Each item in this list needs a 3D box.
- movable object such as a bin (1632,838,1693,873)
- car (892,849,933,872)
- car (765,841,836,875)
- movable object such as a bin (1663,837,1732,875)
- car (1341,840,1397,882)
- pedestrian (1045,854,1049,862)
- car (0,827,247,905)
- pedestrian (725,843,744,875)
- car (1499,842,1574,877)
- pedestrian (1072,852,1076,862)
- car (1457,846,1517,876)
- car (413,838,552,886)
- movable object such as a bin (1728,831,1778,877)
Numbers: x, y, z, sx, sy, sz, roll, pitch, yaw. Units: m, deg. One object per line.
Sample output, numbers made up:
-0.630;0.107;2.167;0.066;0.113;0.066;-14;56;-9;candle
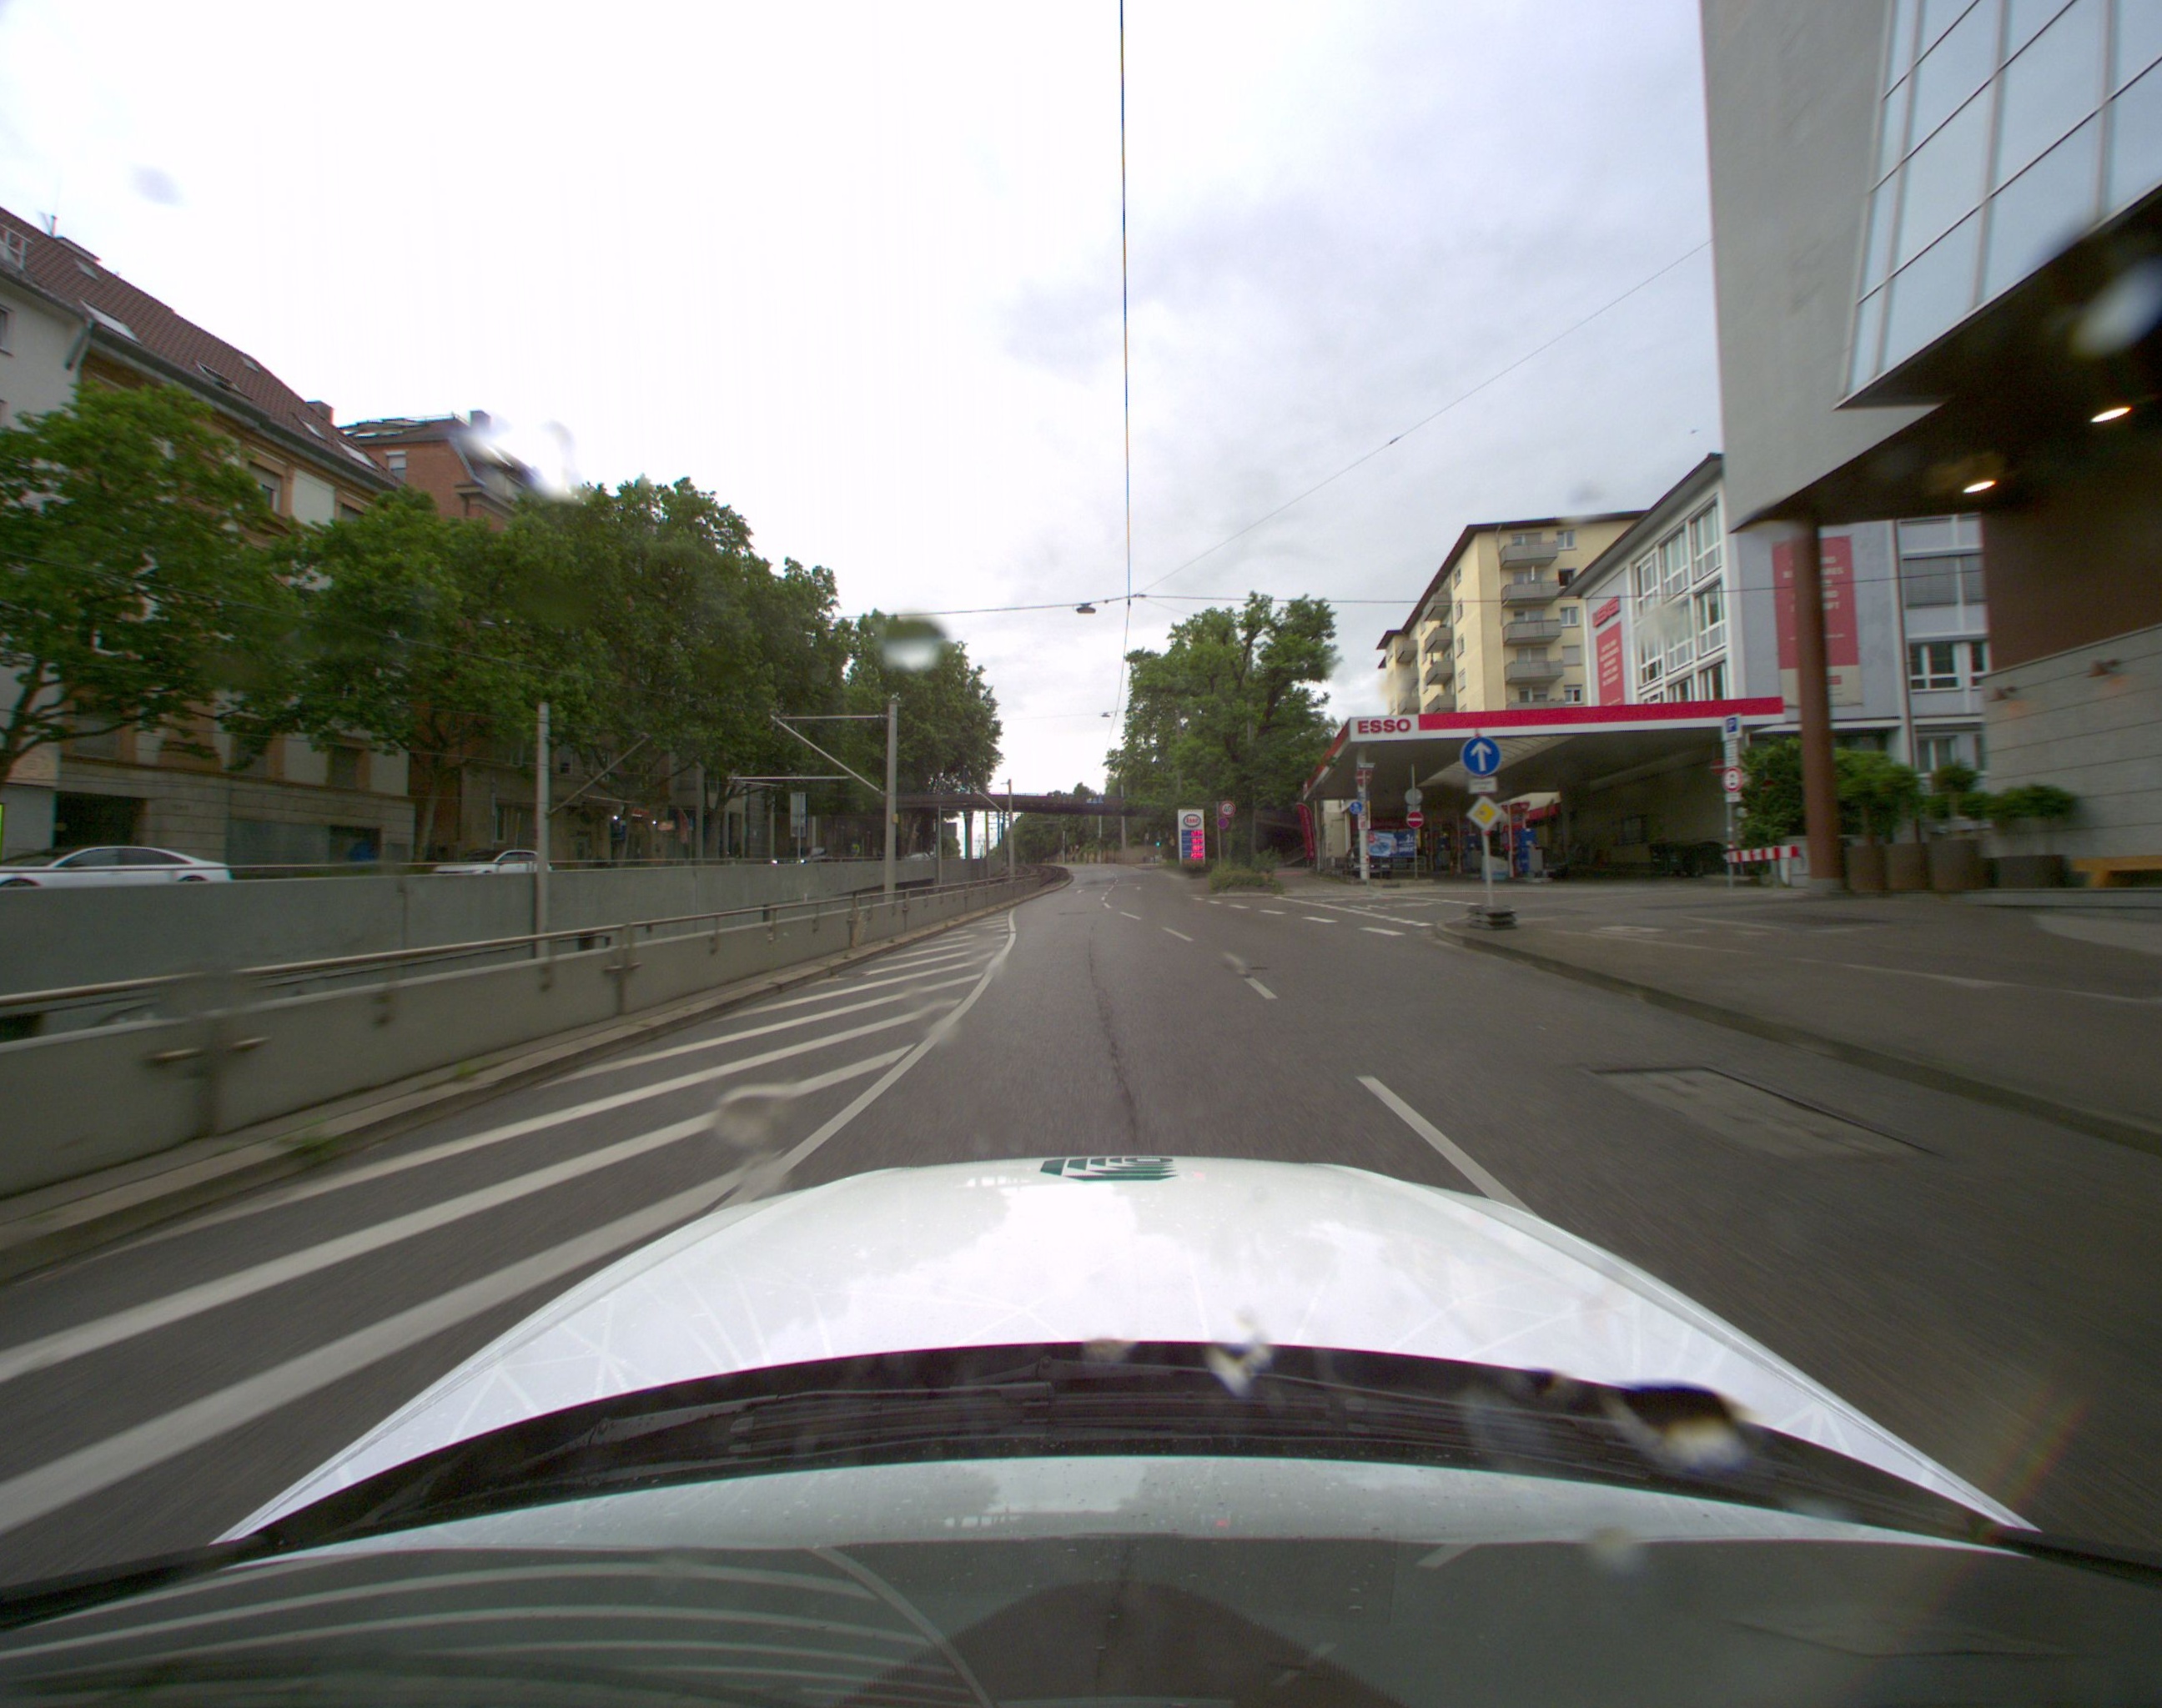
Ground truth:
25.076;0.078;35.209;1.155;1.425;2.515;-1;0;10;movable object such as a bin
-11.799;0.433;57.185;1.787;1.510;4.003;1;0;3;car
-16.333;0.229;47.758;1.946;1.852;4.976;1;0;6;car
24.622;0.080;32.607;1.155;1.425;2.515;-1;0;10;movable object such as a bin
12.196;0.298;34.725;1.760;1.623;3.879;-3;-1;13;car
-7.556;0.958;181.102;0.719;1.687;0.727;1;-2;-9;pedestrian
-22.956;0.248;18.725;1.918;1.601;5.206;1;0;5;car
-22.119;0.311;51.990;0.665;2.014;0.936;1;-2;7;pedestrian
20.626;0.284;37.072;1.783;1.510;4.011;1;-1;10;car
-1.258;0.597;148.218;0.719;1.850;0.780;1;-2;-9;pedestrian
21.760;0.392;43.835;1.783;1.510;4.243;1;-1;10;car
-21.649;0.291;29.688;1.786;1.611;4.117;1;0;4;car
23.465;-0.007;28.471;0.759;1.565;1.364;-1;-1;10;movable object such as a bin
